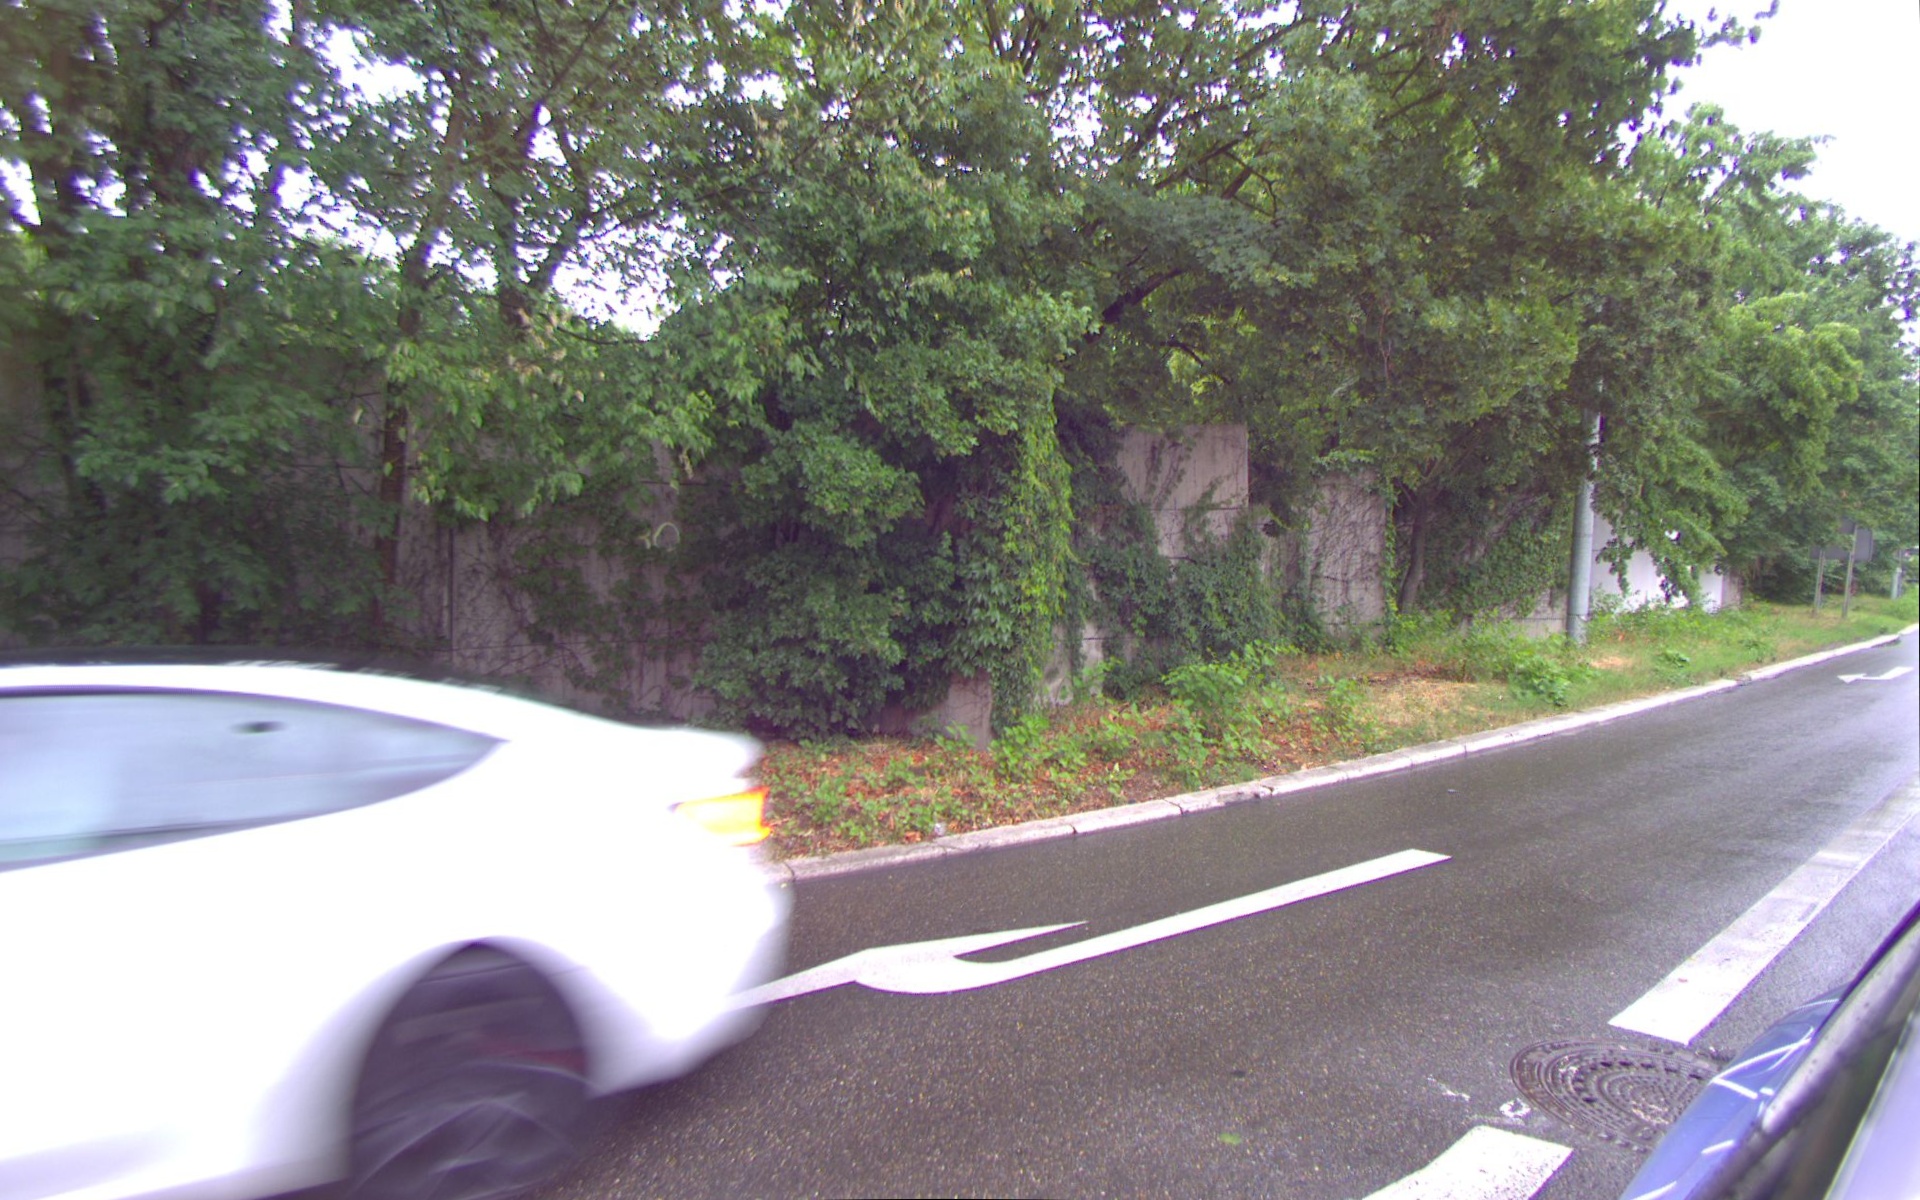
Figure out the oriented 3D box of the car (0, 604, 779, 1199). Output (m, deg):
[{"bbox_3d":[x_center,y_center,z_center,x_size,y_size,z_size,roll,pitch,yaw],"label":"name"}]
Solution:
[{"bbox_3d":[-2.786,0.771,2.645,4.187,1.451,1.843,-1,-1,-29],"label":"car"}]
